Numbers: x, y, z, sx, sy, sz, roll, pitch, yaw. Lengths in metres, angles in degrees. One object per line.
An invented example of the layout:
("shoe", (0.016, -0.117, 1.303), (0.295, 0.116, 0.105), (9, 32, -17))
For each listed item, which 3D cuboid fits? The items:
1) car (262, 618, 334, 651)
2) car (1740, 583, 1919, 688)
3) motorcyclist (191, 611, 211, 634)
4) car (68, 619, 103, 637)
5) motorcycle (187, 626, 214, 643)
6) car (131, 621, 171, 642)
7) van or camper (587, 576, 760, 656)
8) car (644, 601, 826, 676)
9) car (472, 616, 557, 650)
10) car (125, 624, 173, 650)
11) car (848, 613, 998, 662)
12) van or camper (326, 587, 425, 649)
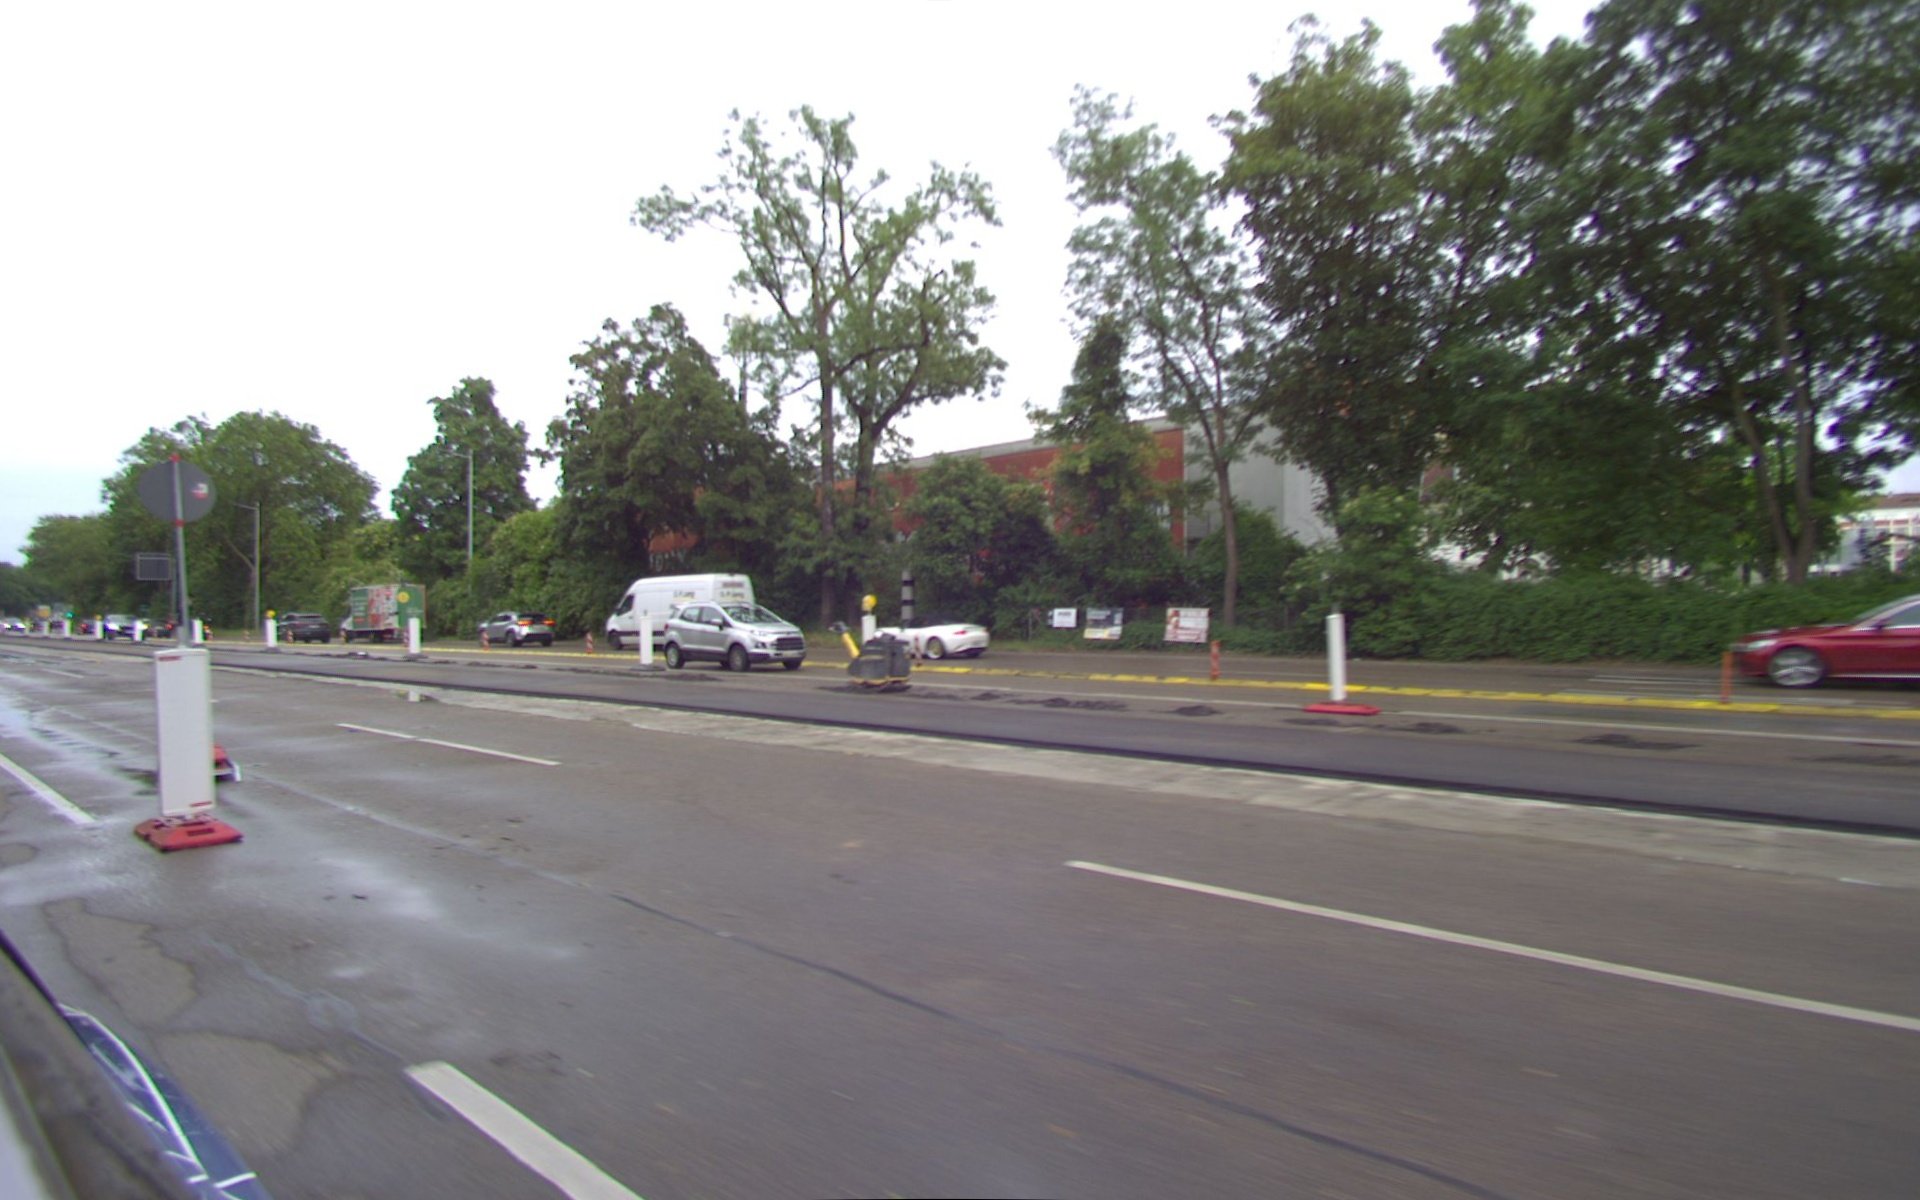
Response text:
("car", (-35.546, 1.842, 54.289), (4.804, 1.706, 1.973), (-2, -2, 41))
("car", (14.287, 0.500, 14.812), (4.483, 1.487, 1.711), (-1, -1, 40))
("motorcyclist", (-48.413, 1.443, 64.523), (0.975, 1.421, 0.805), (-2, 0, 41))
("car", (-82.330, 2.632, 95.217), (4.395, 1.564, 1.869), (-1, 0, 41))
("motorcycle", (-48.477, 2.204, 64.584), (2.592, 0.996, 0.800), (-2, 0, 41))
("car", (-60.099, 2.315, 75.148), (4.107, 1.453, 1.669), (-2, -1, 42))
("van or camper", (-10.311, 0.567, 35.850), (7.726, 2.574, 1.973), (-2, 0, 42))
("car", (-5.364, 0.874, 23.823), (4.359, 1.576, 1.870), (-2, 0, 39))
("car", (-18.819, 1.372, 42.691), (4.078, 1.375, 1.698), (-2, -2, 40))
("car", (-54.652, 2.493, 68.163), (4.813, 1.641, 1.971), (-1, -1, 44))
("car", (-1.055, 1.008, 27.794), (3.995, 1.192, 1.672), (-2, 0, 39))
("van or camper", (-31.362, 0.970, 54.189), (7.447, 3.086, 2.274), (-1, -1, 41))
